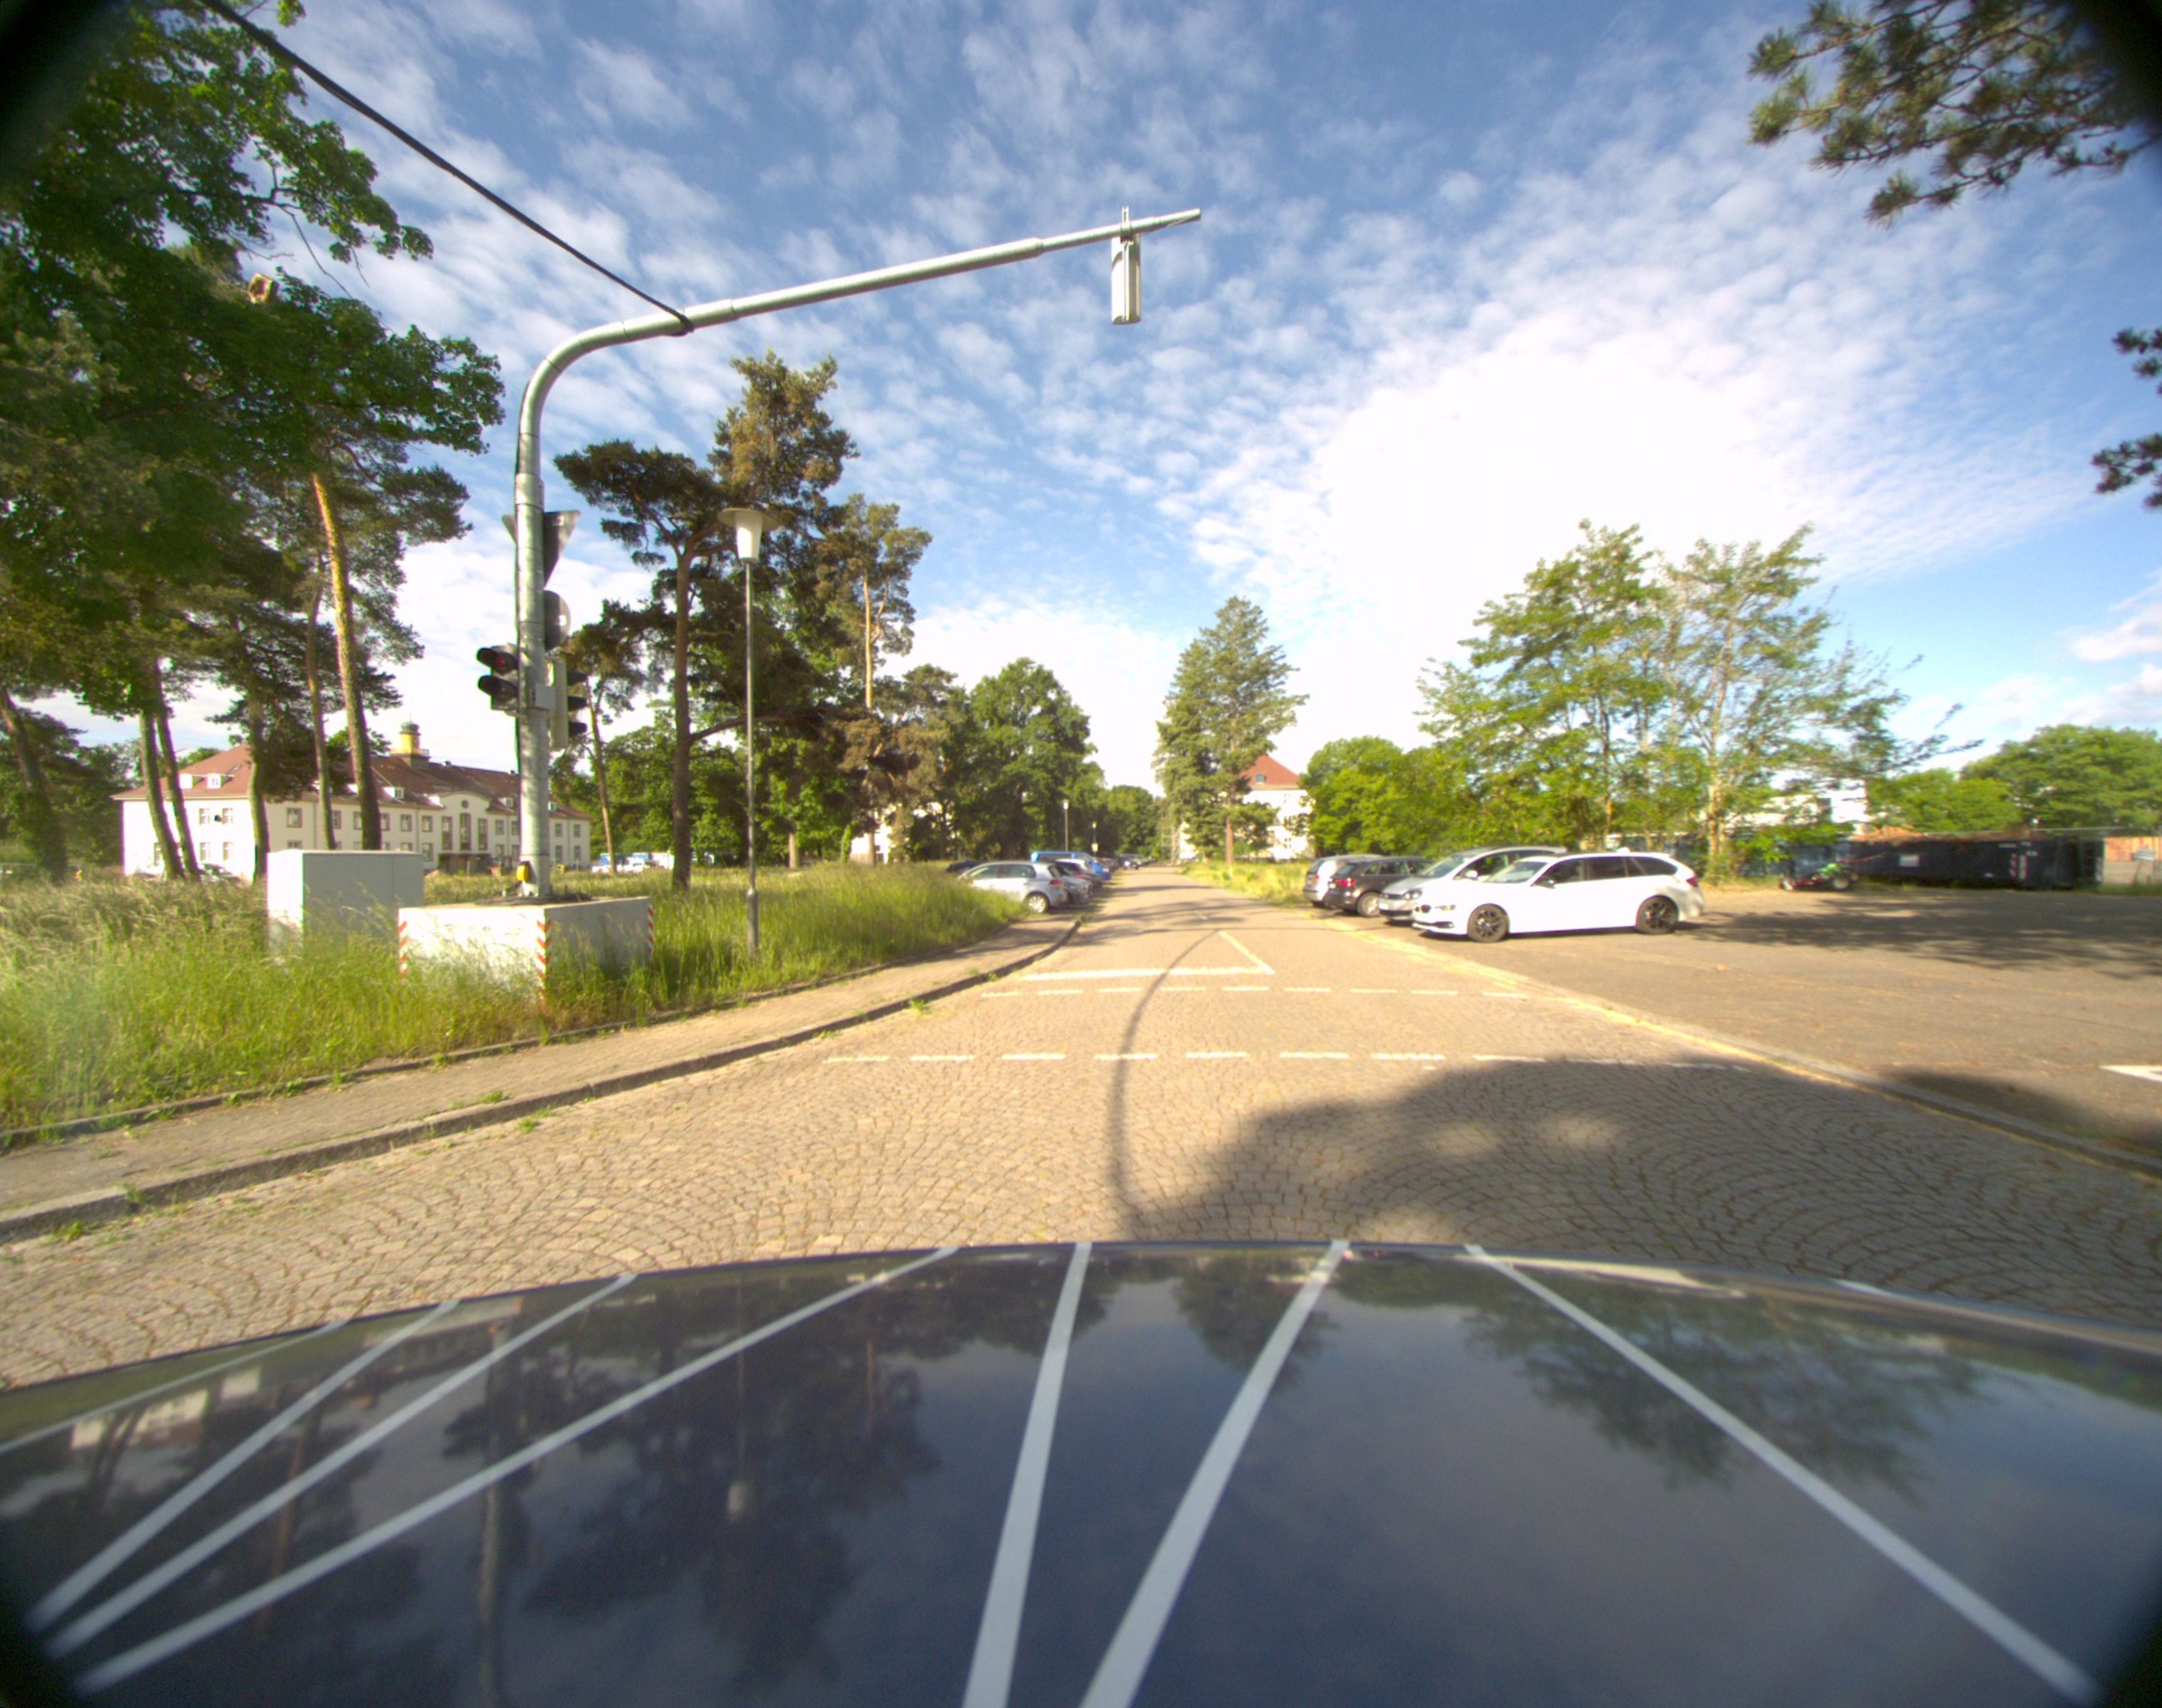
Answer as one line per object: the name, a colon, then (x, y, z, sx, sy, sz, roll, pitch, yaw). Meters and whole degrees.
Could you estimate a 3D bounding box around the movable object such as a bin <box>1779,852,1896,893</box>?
movable object such as a bin: (21.410, 0.509, 21.552, 2.284, 1.101, 0.998, -1, 1, 2)

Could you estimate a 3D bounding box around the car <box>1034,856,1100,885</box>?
car: (-0.700, 0.847, 39.549, 3.263, 1.482, 1.450, -1, 1, 7)

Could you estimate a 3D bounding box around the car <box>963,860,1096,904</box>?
car: (-1.736, 0.943, 26.689, 4.421, 1.394, 1.826, 1, 1, 3)

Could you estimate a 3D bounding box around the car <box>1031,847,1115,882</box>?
car: (-0.429, 0.618, 44.916, 4.724, 2.002, 2.001, -1, 1, 6)

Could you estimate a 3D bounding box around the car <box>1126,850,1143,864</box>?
car: (6.239, 0.365, 88.827, 1.867, 1.576, 4.000, -1, 1, 2)

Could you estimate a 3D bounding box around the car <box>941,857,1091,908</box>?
car: (-1.964, 0.866, 23.907, 4.505, 1.508, 1.826, 0, 1, 1)

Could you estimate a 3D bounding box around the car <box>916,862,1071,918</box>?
car: (-2.376, 0.979, 21.310, 4.024, 1.452, 1.871, 0, 1, 4)

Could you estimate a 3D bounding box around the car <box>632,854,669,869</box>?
car: (-59.946, 0.972, 105.909, 1.998, 2.002, 4.774, -1, 0, 5)

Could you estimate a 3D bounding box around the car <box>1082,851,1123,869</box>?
car: (2.265, 0.631, 78.798, 3.994, 1.605, 1.757, -3, 1, 9)

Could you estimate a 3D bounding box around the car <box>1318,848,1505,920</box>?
car: (8.022, 0.708, 18.698, 3.805, 1.462, 1.688, -4, 1, 4)

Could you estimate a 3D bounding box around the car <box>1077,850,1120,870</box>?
car: (1.741, 0.603, 74.245, 3.995, 1.731, 1.757, -2, 0, 7)

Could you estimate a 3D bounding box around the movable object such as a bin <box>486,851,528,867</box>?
movable object such as a bin: (-81.889, 0.698, 108.496, 1.998, 2.309, 4.987, -1, 0, 1)

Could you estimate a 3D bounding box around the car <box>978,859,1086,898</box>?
car: (-1.813, 0.895, 28.928, 3.916, 1.385, 1.661, 1, 1, 4)

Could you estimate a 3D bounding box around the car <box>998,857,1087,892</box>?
car: (-1.670, 0.895, 33.835, 3.778, 1.482, 1.549, -1, 1, 4)

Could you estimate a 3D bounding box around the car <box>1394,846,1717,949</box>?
car: (8.209, 0.722, 13.456, 4.552, 1.459, 1.753, -3, 0, 1)

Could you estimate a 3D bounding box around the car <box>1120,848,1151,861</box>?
car: (9.171, 0.068, 127.492, 5.066, 2.251, 2.000, -1, 1, 4)

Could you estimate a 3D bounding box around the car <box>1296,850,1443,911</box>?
car: (8.069, 0.721, 21.458, 3.473, 1.462, 1.636, -4, 1, 2)

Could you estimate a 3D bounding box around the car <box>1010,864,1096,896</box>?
car: (-1.112, 1.062, 31.187, 3.355, 1.248, 1.420, -1, 1, 4)

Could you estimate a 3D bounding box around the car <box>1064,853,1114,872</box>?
car: (0.710, 0.685, 64.292, 3.994, 1.509, 1.757, -1, 1, 7)

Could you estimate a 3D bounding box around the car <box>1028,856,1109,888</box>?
car: (-0.583, 0.849, 36.768, 3.619, 1.482, 1.509, -1, 1, 14)

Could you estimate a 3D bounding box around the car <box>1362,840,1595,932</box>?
car: (8.254, 0.641, 16.027, 3.954, 1.616, 1.722, -3, 1, 0)
